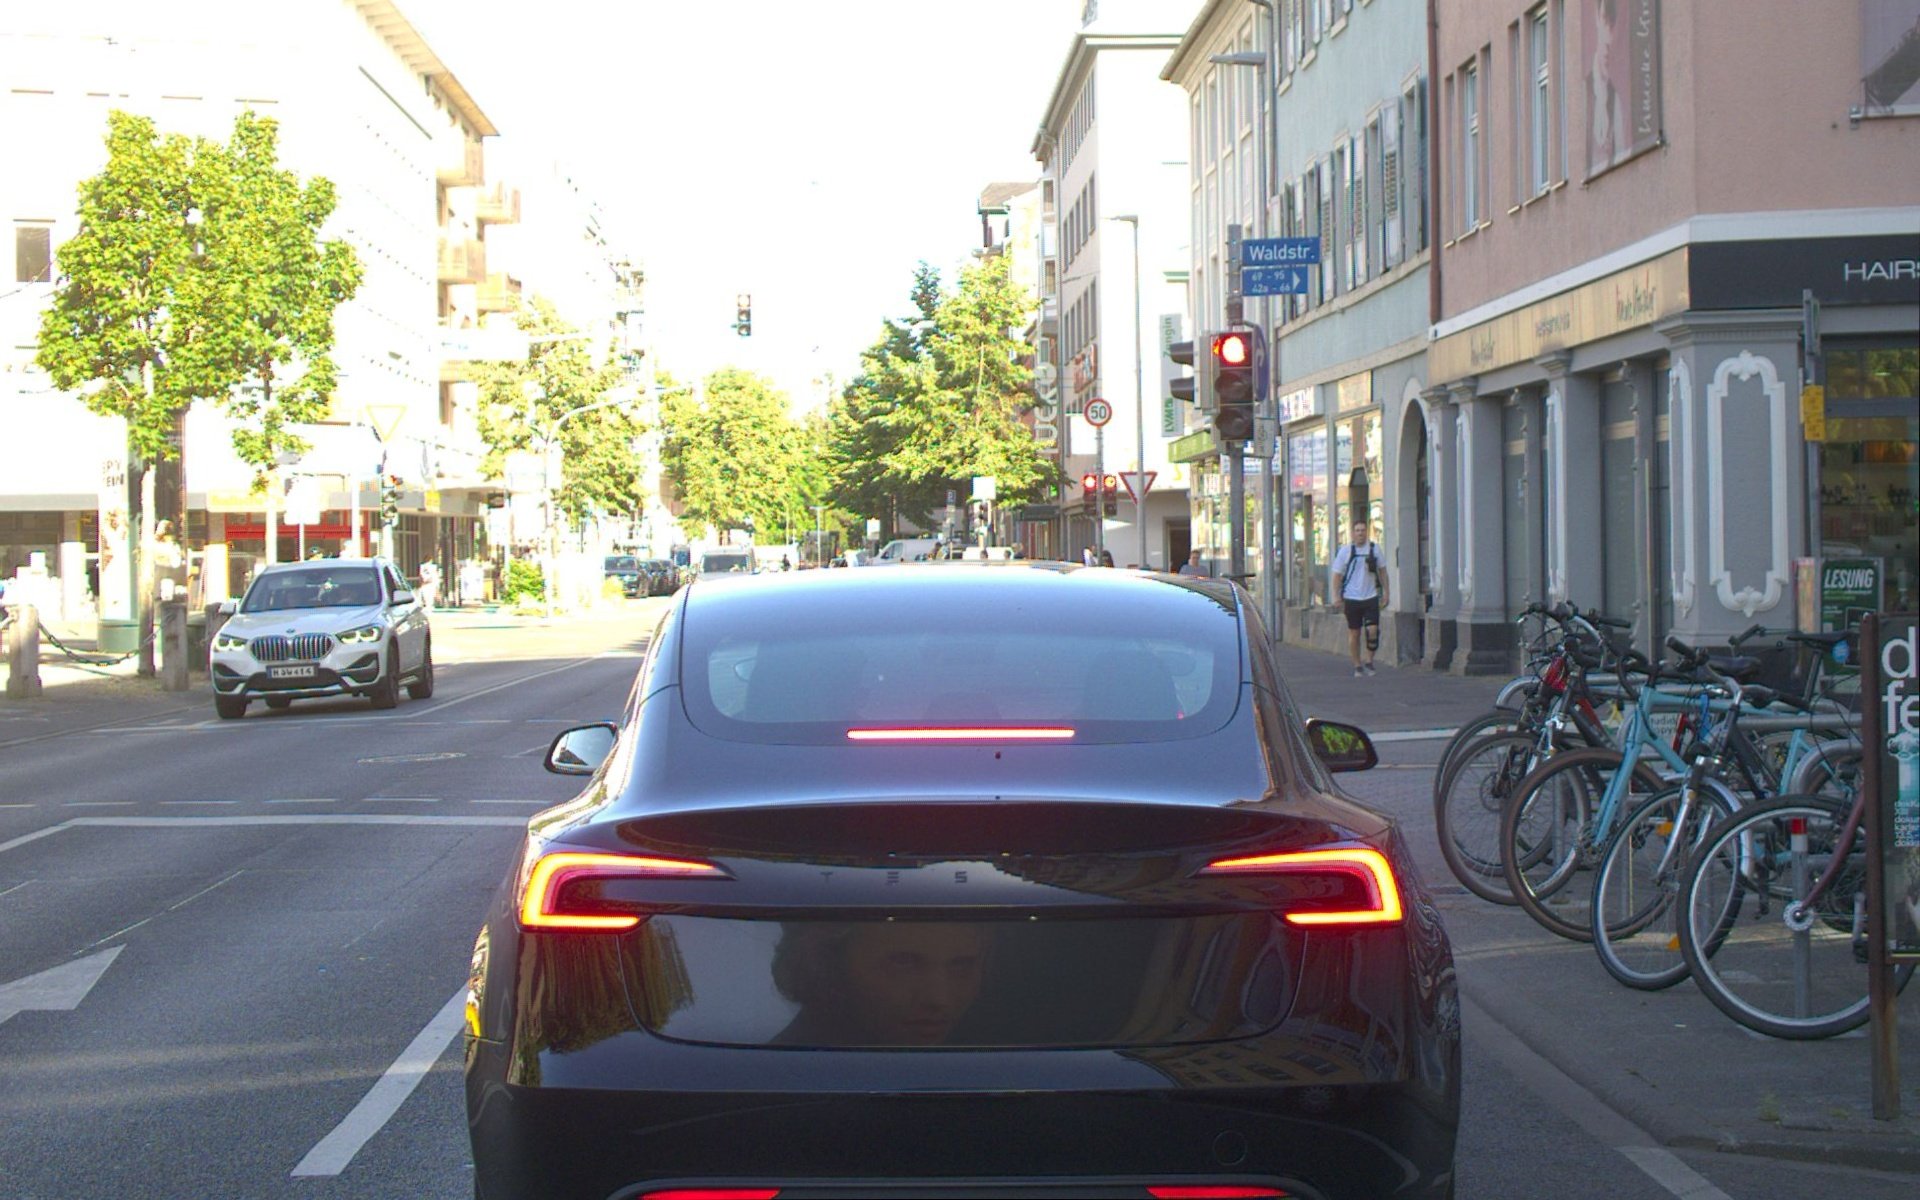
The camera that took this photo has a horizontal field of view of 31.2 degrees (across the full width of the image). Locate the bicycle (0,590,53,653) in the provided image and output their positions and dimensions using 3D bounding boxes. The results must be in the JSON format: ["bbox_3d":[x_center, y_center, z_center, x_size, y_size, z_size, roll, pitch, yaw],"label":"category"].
[{"bbox_3d":[-14.809,0.325,52.288,1.864,0.931,0.606,0,1,-1],"label":"bicycle"}]

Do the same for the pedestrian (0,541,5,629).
[{"bbox_3d":[-22.535,-0.354,78.887,1.057,2.007,1.055,1,0,-8],"label":"pedestrian"}]

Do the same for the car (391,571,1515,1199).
[{"bbox_3d":[-0.034,0.658,7.574,1.822,1.437,4.000,0,1,-1],"label":"car"}]

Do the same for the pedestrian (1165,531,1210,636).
[{"bbox_3d":[3.811,-0.279,57.561,0.706,1.736,0.540,0,1,-1],"label":"pedestrian"}]

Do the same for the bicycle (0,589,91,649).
[{"bbox_3d":[-14.837,0.300,54.737,1.864,0.931,0.606,0,1,-1],"label":"bicycle"}]

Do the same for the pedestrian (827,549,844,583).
[{"bbox_3d":[-7.363,-2.005,203.574,0.930,2.007,0.938,1,0,-1],"label":"pedestrian"}]

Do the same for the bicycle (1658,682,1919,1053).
[{"bbox_3d":[3.014,0.756,9.991,1.873,1.034,0.353,-2,0,6],"label":"bicycle"}]

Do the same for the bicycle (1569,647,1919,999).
[{"bbox_3d":[2.967,0.704,11.168,1.873,1.084,0.414,-2,0,4],"label":"bicycle"}]

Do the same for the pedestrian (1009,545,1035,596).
[{"bbox_3d":[1.722,-0.823,95.809,0.521,1.417,0.479,1,0,-30],"label":"pedestrian"}]

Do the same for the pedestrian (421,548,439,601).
[{"bbox_3d":[-14.762,-0.709,95.680,0.459,1.455,0.518,0,1,-5],"label":"pedestrian"}]

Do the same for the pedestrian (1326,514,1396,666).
[{"bbox_3d":[4.715,-0.120,40.497,0.750,1.759,0.836,1,0,4],"label":"pedestrian"}]

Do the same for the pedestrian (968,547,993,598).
[{"bbox_3d":[0.580,-0.765,95.836,0.472,1.412,0.522,1,0,-31],"label":"pedestrian"}]

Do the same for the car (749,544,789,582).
[{"bbox_3d":[-10.400,-2.022,187.332,1.993,2.007,4.000,1,1,-1],"label":"car"}]

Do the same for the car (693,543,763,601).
[{"bbox_3d":[-6.845,-0.831,101.652,1.787,1.640,4.403,1,1,-1],"label":"car"}]

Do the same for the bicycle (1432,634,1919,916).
[{"bbox_3d":[2.850,0.689,13.657,1.873,1.034,0.547,-2,0,5],"label":"bicycle"}]

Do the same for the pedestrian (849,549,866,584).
[{"bbox_3d":[-6.082,-1.989,203.774,0.930,2.007,0.938,1,0,-1],"label":"pedestrian"}]

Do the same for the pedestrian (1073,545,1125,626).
[{"bbox_3d":[2.799,-0.297,69.319,0.754,1.626,0.956,1,0,-18],"label":"pedestrian"}]

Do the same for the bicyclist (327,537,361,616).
[{"bbox_3d":[-11.845,-0.455,66.146,0.522,1.498,0.476,1,0,-25],"label":"bicyclist"}]

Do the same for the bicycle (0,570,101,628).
[{"bbox_3d":[-20.743,-0.027,78.039,2.361,1.291,0.513,1,0,-26],"label":"bicycle"}]

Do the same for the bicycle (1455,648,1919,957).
[{"bbox_3d":[2.776,0.721,12.453,1.873,1.034,0.533,-2,0,4],"label":"bicycle"}]

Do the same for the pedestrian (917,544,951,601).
[{"bbox_3d":[-0.773,-0.836,103.654,0.715,1.689,0.851,0,1,-28],"label":"pedestrian"}]

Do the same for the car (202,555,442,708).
[{"bbox_3d":[-6.652,0.293,36.185,1.789,1.455,3.757,-2,1,0],"label":"car"}]

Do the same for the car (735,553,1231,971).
[{"bbox_3d":[0.012,0.536,13.800,1.718,1.420,3.758,0,1,-2],"label":"car"}]

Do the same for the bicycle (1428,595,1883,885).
[{"bbox_3d":[2.964,0.593,14.759,1.828,1.165,0.505,-2,0,5],"label":"bicycle"}]

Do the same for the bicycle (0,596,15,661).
[{"bbox_3d":[-14.721,0.393,49.835,1.864,0.931,0.606,1,0,-1],"label":"bicycle"}]

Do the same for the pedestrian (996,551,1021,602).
[{"bbox_3d":[1.346,-0.650,95.217,0.521,1.417,0.479,1,0,-30],"label":"pedestrian"}]
